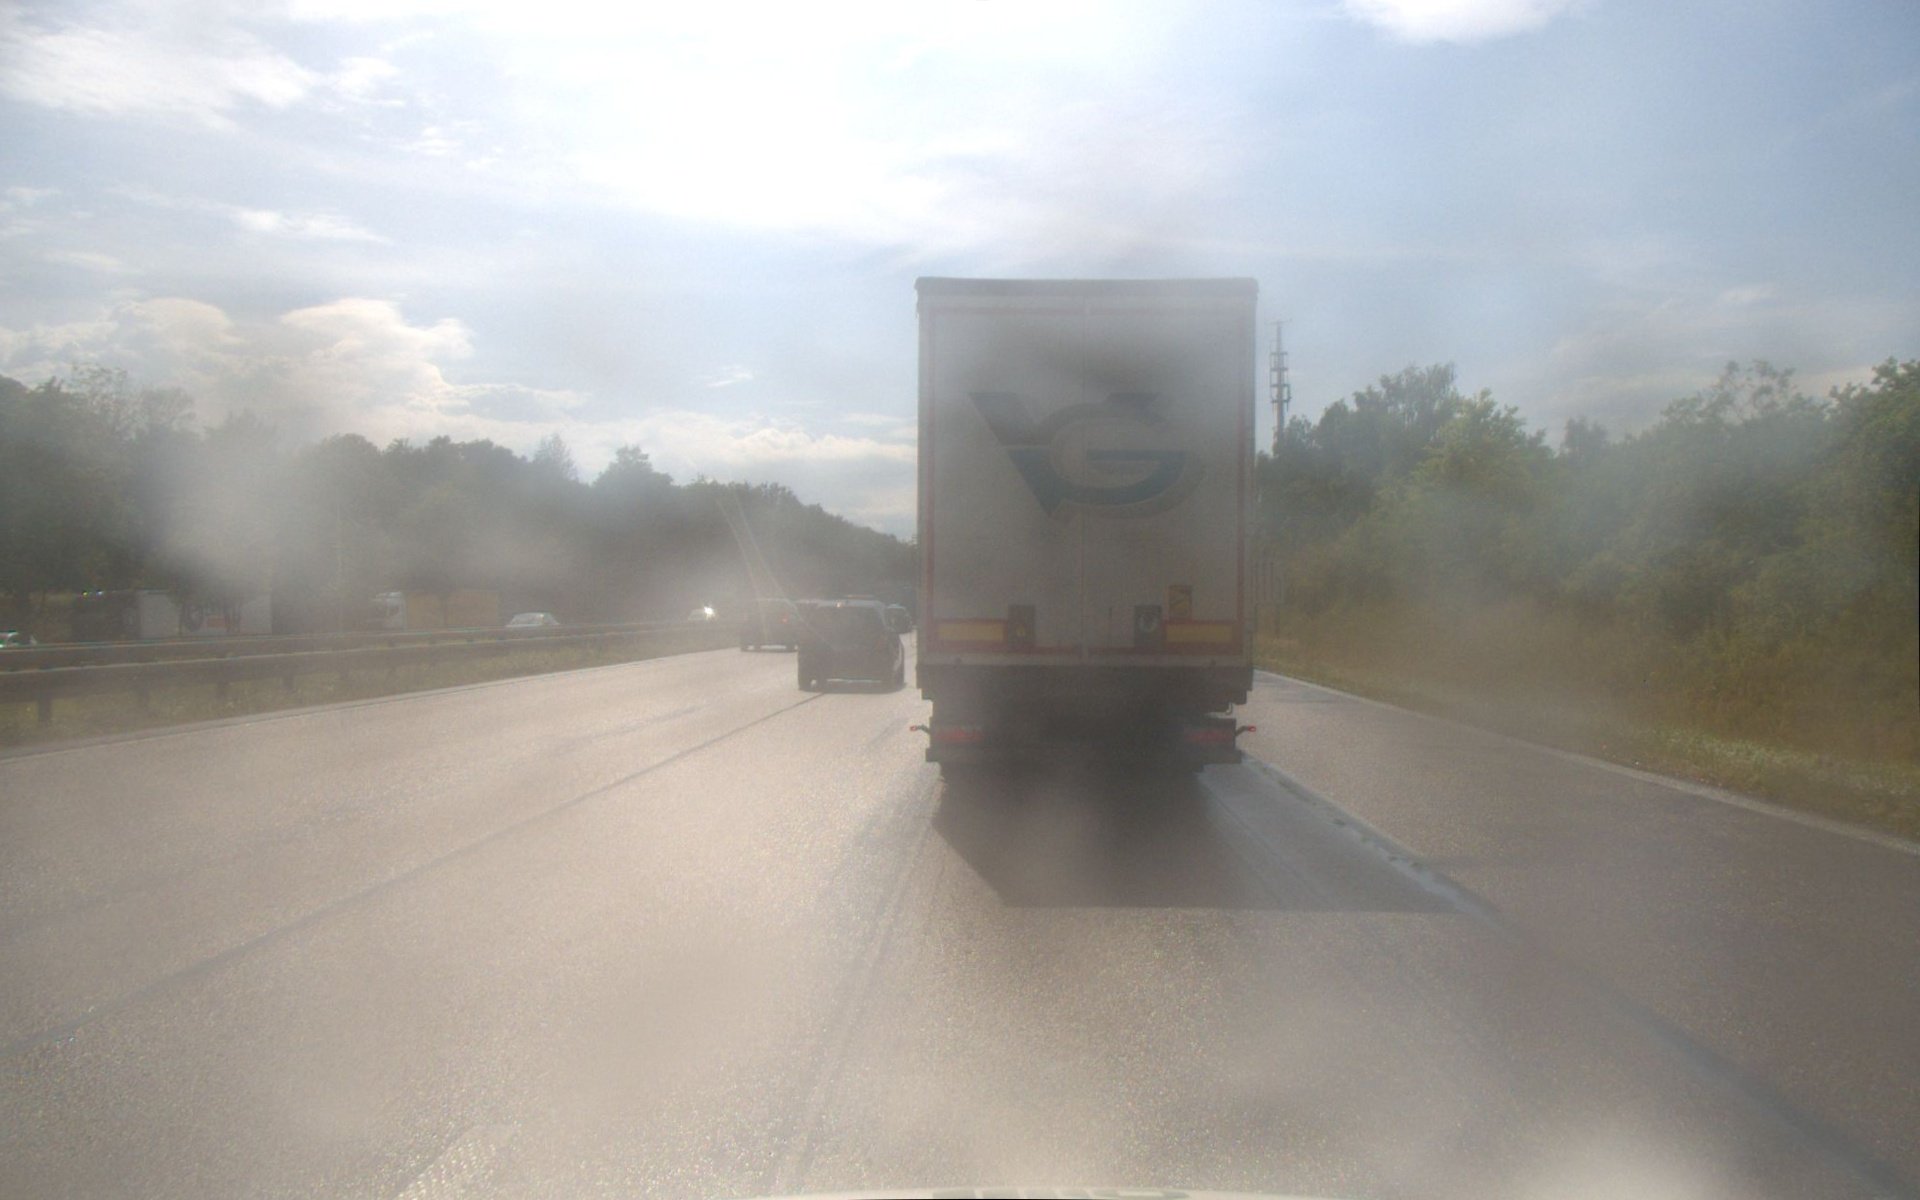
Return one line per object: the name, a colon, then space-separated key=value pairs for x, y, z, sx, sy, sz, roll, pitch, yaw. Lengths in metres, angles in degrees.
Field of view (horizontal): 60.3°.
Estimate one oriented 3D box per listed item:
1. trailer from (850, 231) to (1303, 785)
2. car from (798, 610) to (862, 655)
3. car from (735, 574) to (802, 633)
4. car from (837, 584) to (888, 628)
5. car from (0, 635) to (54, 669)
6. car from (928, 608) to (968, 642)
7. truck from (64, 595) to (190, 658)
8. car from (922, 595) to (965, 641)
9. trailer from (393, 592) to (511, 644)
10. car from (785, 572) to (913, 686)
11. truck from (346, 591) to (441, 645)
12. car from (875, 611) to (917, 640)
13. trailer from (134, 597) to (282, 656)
trailer: x=1.022 y=-0.654 z=19.049 sx=3.216 sy=3.967 sz=14.130 roll=1 pitch=0 yaw=1
car: x=-5.028 y=1.242 z=64.544 sx=1.869 sy=1.665 sz=4.618 roll=-1 pitch=-1 yaw=3
car: x=-6.192 y=0.124 z=53.862 sx=1.657 sy=1.836 sz=3.976 roll=1 pitch=-1 yaw=1
car: x=-4.758 y=0.314 z=81.253 sx=1.937 sy=2.090 sz=4.758 roll=1 pitch=-1 yaw=3
car: x=-52.474 y=2.839 z=91.456 sx=2.015 sy=1.748 sz=4.370 roll=1 pitch=-1 yaw=5
car: x=-0.554 y=1.161 z=77.749 sx=1.826 sy=1.542 sz=3.976 roll=1 pitch=-1 yaw=0
truck: x=-50.984 y=1.619 z=101.425 sx=3.707 sy=3.724 sz=6.710 roll=1 pitch=-1 yaw=7
car: x=-0.669 y=0.752 z=68.239 sx=1.657 sy=1.836 sz=3.976 roll=1 pitch=-1 yaw=1
trailer: x=-42.661 y=1.546 z=139.519 sx=3.707 sy=4.189 sz=11.733 roll=0 pitch=-1 yaw=15
car: x=-2.042 y=0.538 z=31.658 sx=2.228 sy=1.989 sz=4.819 roll=1 pitch=-1 yaw=-2
truck: x=-44.927 y=1.427 z=131.391 sx=3.707 sy=4.189 sz=7.050 roll=0 pitch=-1 yaw=15
car: x=-3.620 y=1.455 z=93.899 sx=1.952 sy=1.592 sz=4.758 roll=1 pitch=-1 yaw=3
trailer: x=-49.722 y=1.677 z=109.849 sx=3.708 sy=3.713 sz=10.506 roll=-1 pitch=0 yaw=9
